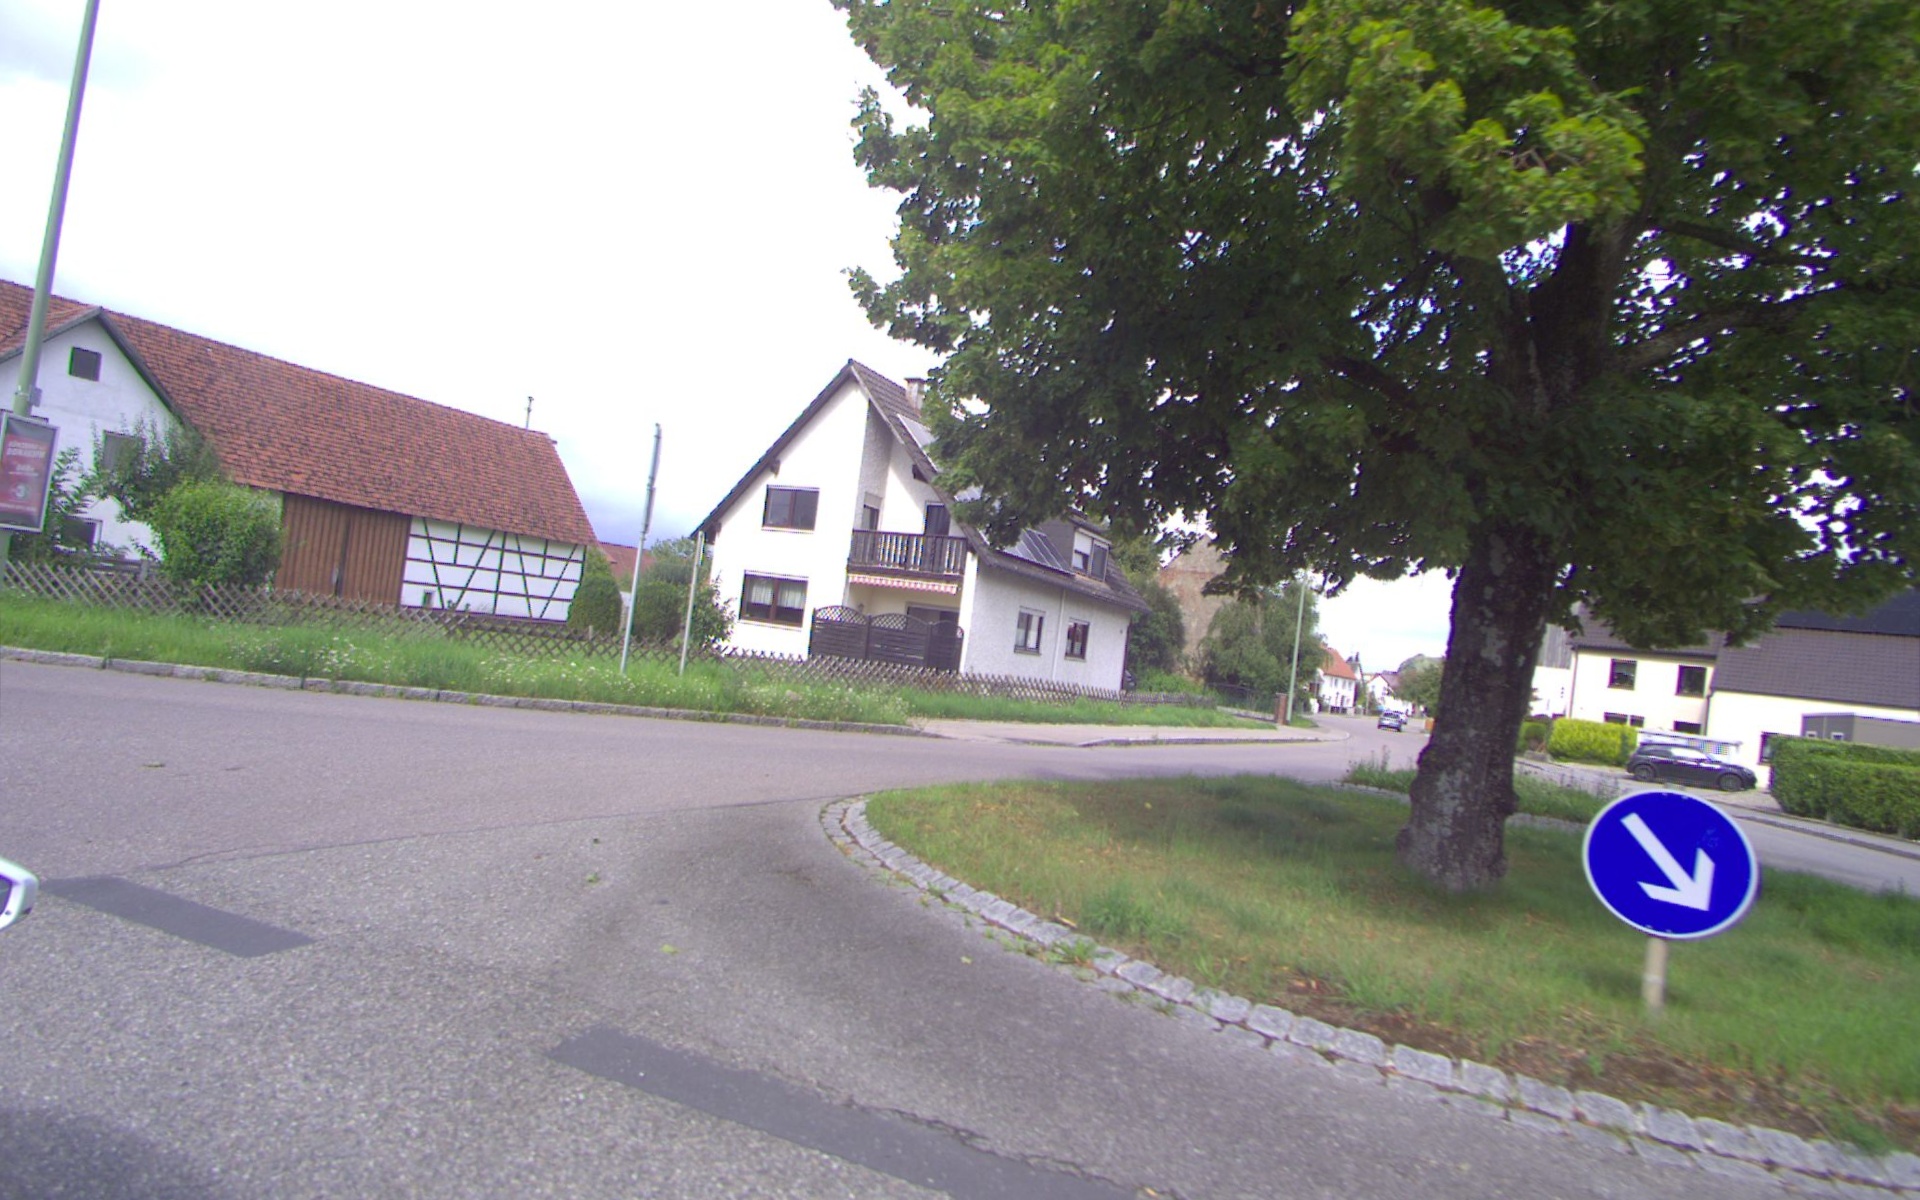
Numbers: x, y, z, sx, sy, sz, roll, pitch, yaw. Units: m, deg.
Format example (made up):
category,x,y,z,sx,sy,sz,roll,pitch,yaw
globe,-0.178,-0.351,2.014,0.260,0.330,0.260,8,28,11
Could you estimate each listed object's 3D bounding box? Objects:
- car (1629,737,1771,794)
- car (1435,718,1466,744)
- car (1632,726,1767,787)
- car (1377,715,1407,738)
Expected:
category,x,y,z,sx,sy,sz,roll,pitch,yaw
car,26.169,5.843,35.743,3.844,1.419,1.698,3,-3,32
car,36.673,9.742,75.199,1.702,1.625,3.996,6,-2,30
car,27.708,5.811,37.745,3.856,1.719,1.693,3,-3,43
car,35.925,10.510,83.551,1.702,1.625,3.996,6,-2,30
